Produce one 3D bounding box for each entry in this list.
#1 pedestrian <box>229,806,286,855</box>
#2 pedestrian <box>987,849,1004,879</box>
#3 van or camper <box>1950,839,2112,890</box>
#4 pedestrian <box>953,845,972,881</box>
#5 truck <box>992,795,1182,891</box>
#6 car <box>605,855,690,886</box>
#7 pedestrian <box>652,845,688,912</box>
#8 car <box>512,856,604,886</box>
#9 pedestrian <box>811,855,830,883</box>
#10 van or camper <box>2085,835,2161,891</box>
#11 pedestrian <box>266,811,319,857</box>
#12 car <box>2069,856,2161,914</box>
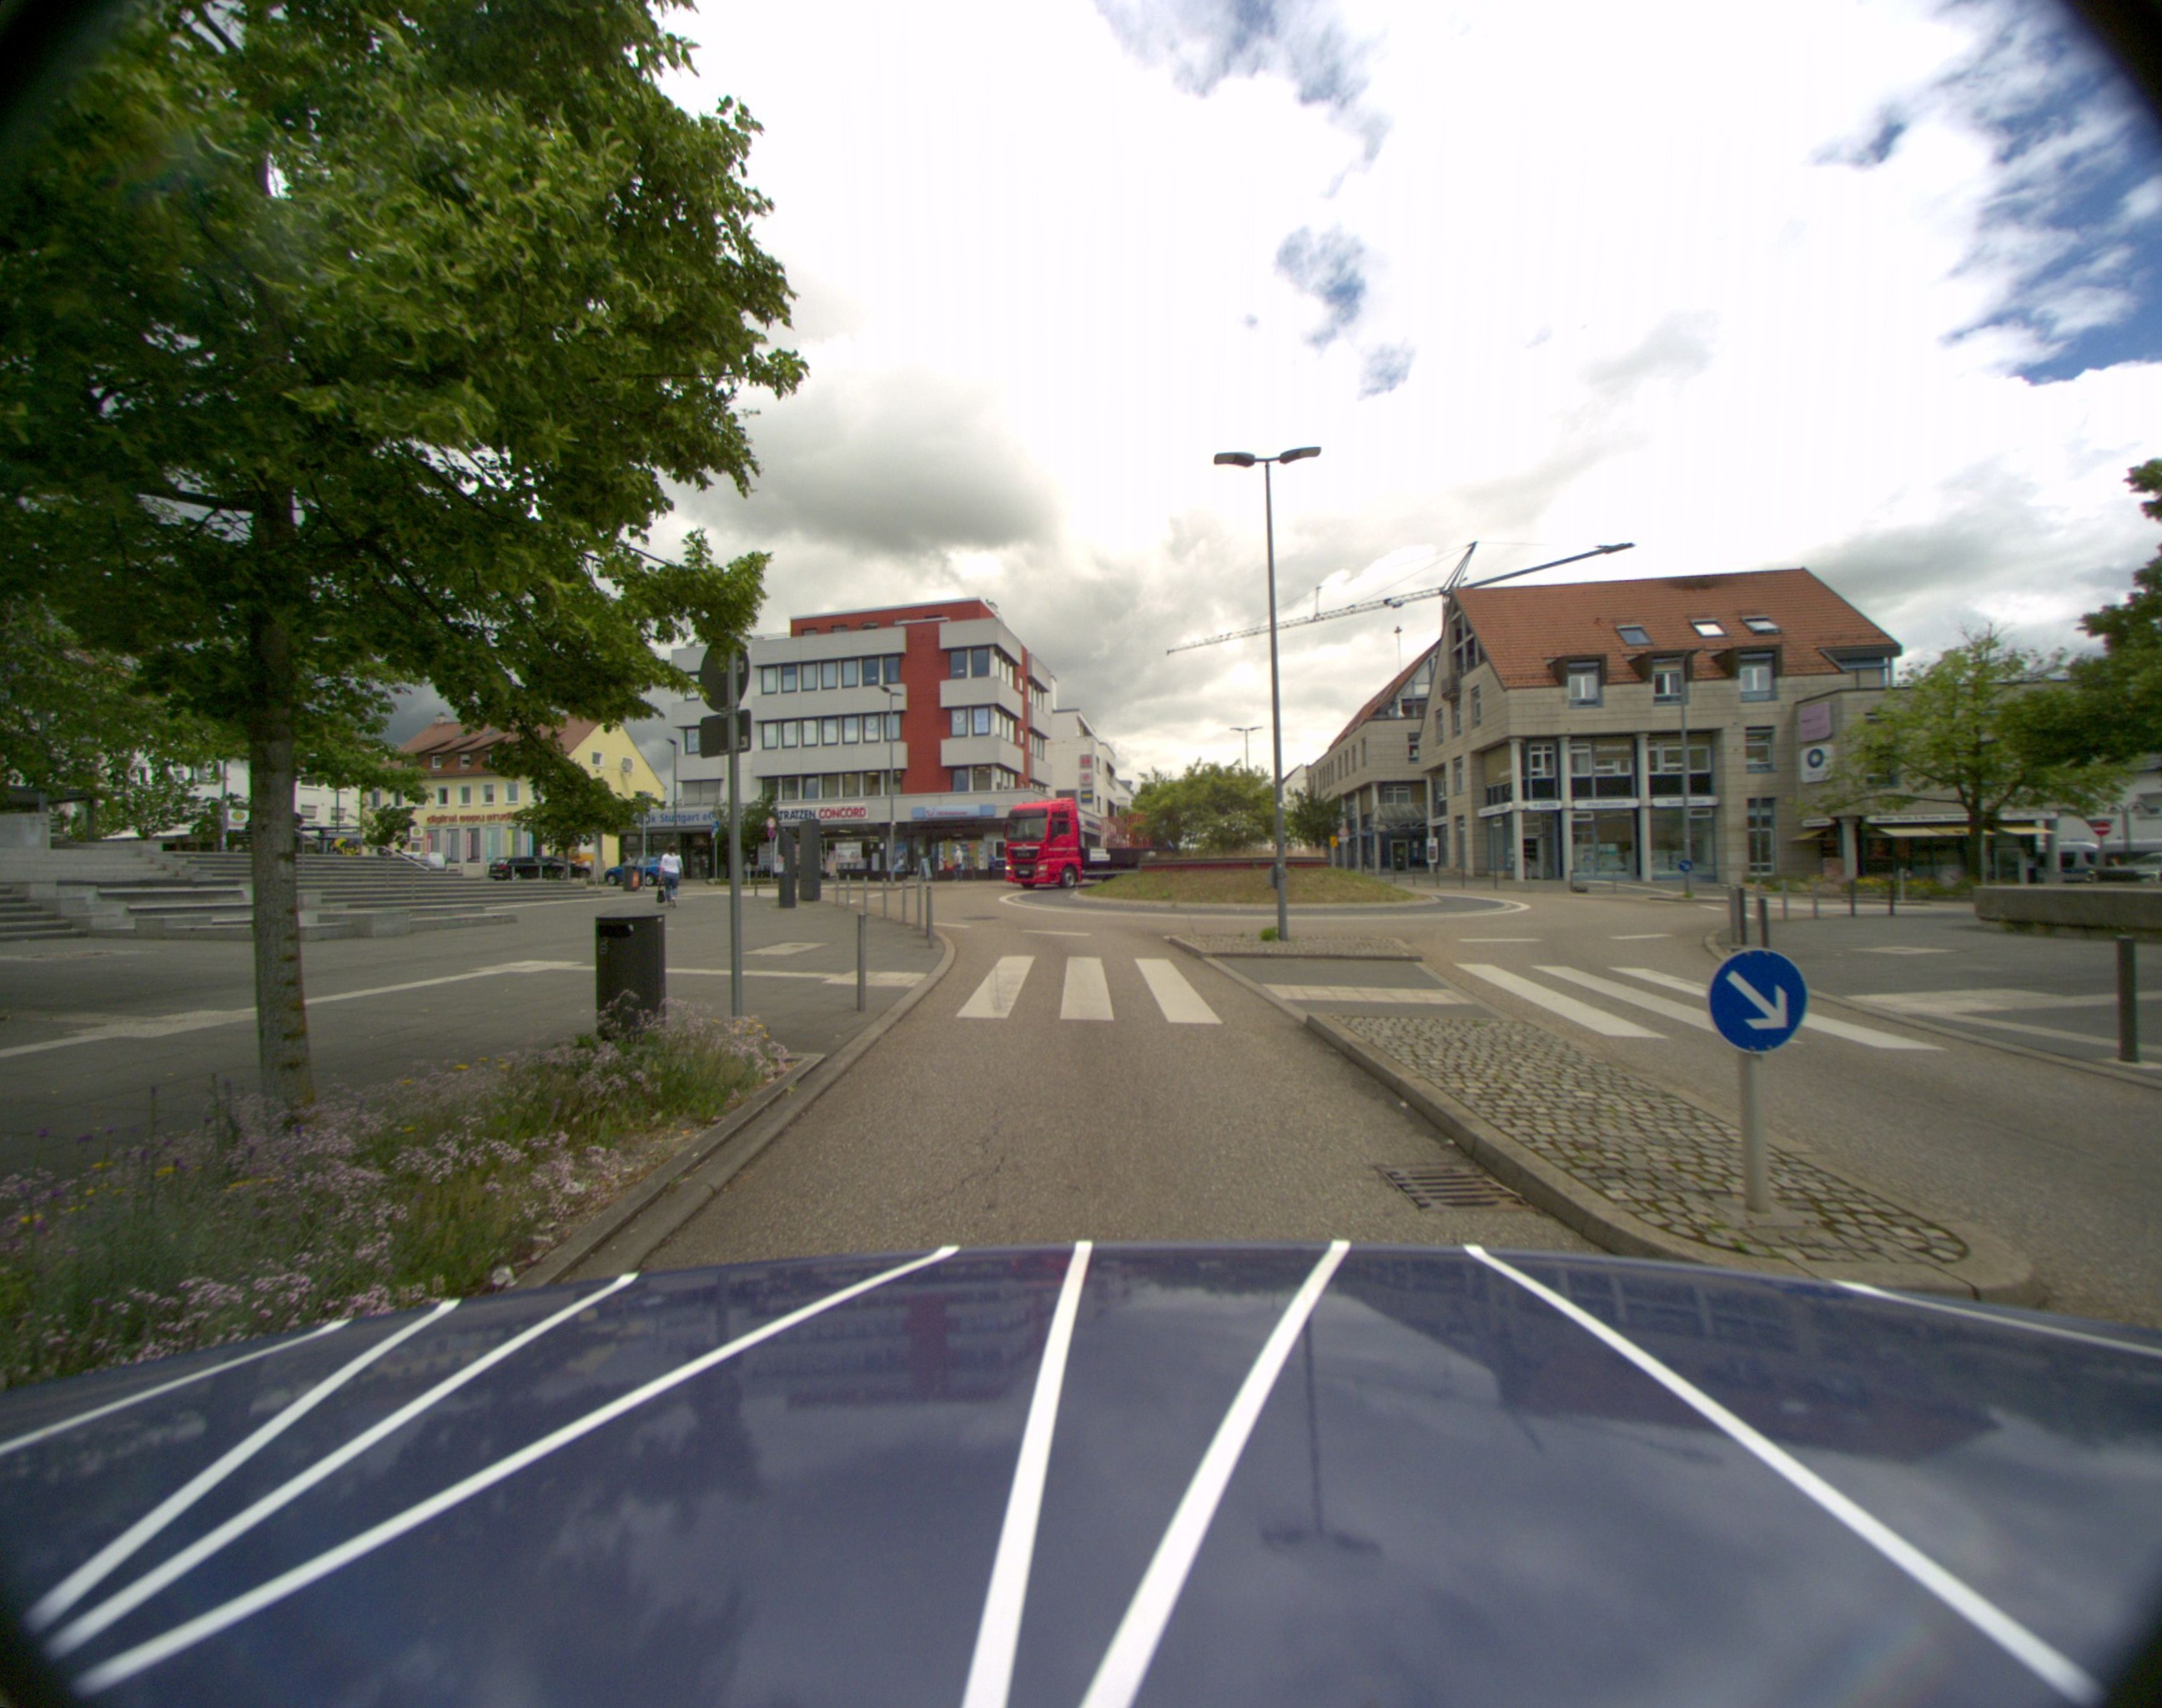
[{"bbox_3d":[-23.168,-0.662,21.384,0.694,1.317,0.764,-2,1,8],"label":"pedestrian"},{"bbox_3d":[-4.709,0.552,41.977,0.684,1.585,0.767,-2,1,12],"label":"pedestrian"},{"bbox_3d":[47.592,0.542,38.207,2.002,2.368,4.667,-1,0,-21],"label":"van or camper"},{"bbox_3d":[-6.389,0.484,40.983,0.684,1.902,0.767,-2,1,12],"label":"pedestrian"},{"bbox_3d":[0.729,-0.584,35.416,2.675,3.820,10.868,-1,1,38],"label":"truck"},{"bbox_3d":[-24.012,0.892,42.111,3.824,1.554,1.820,-2,1,13],"label":"car"},{"bbox_3d":[-11.059,0.651,20.431,0.768,1.721,0.751,-3,1,-29],"label":"pedestrian"},{"bbox_3d":[-36.022,1.136,52.553,2.409,2.002,5.035,-1,0,8],"label":"car"},{"bbox_3d":[-15.120,0.843,44.063,0.684,1.574,0.767,-2,1,12],"label":"pedestrian"},{"bbox_3d":[47.017,0.365,32.397,2.002,2.368,4.667,-1,0,-21],"label":"van or camper"},{"bbox_3d":[-23.092,-0.585,22.266,0.694,1.317,0.764,-2,1,8],"label":"pedestrian"},{"bbox_3d":[34.594,0.900,23.560,4.884,1.644,1.748,-2,1,11],"label":"car"}]
